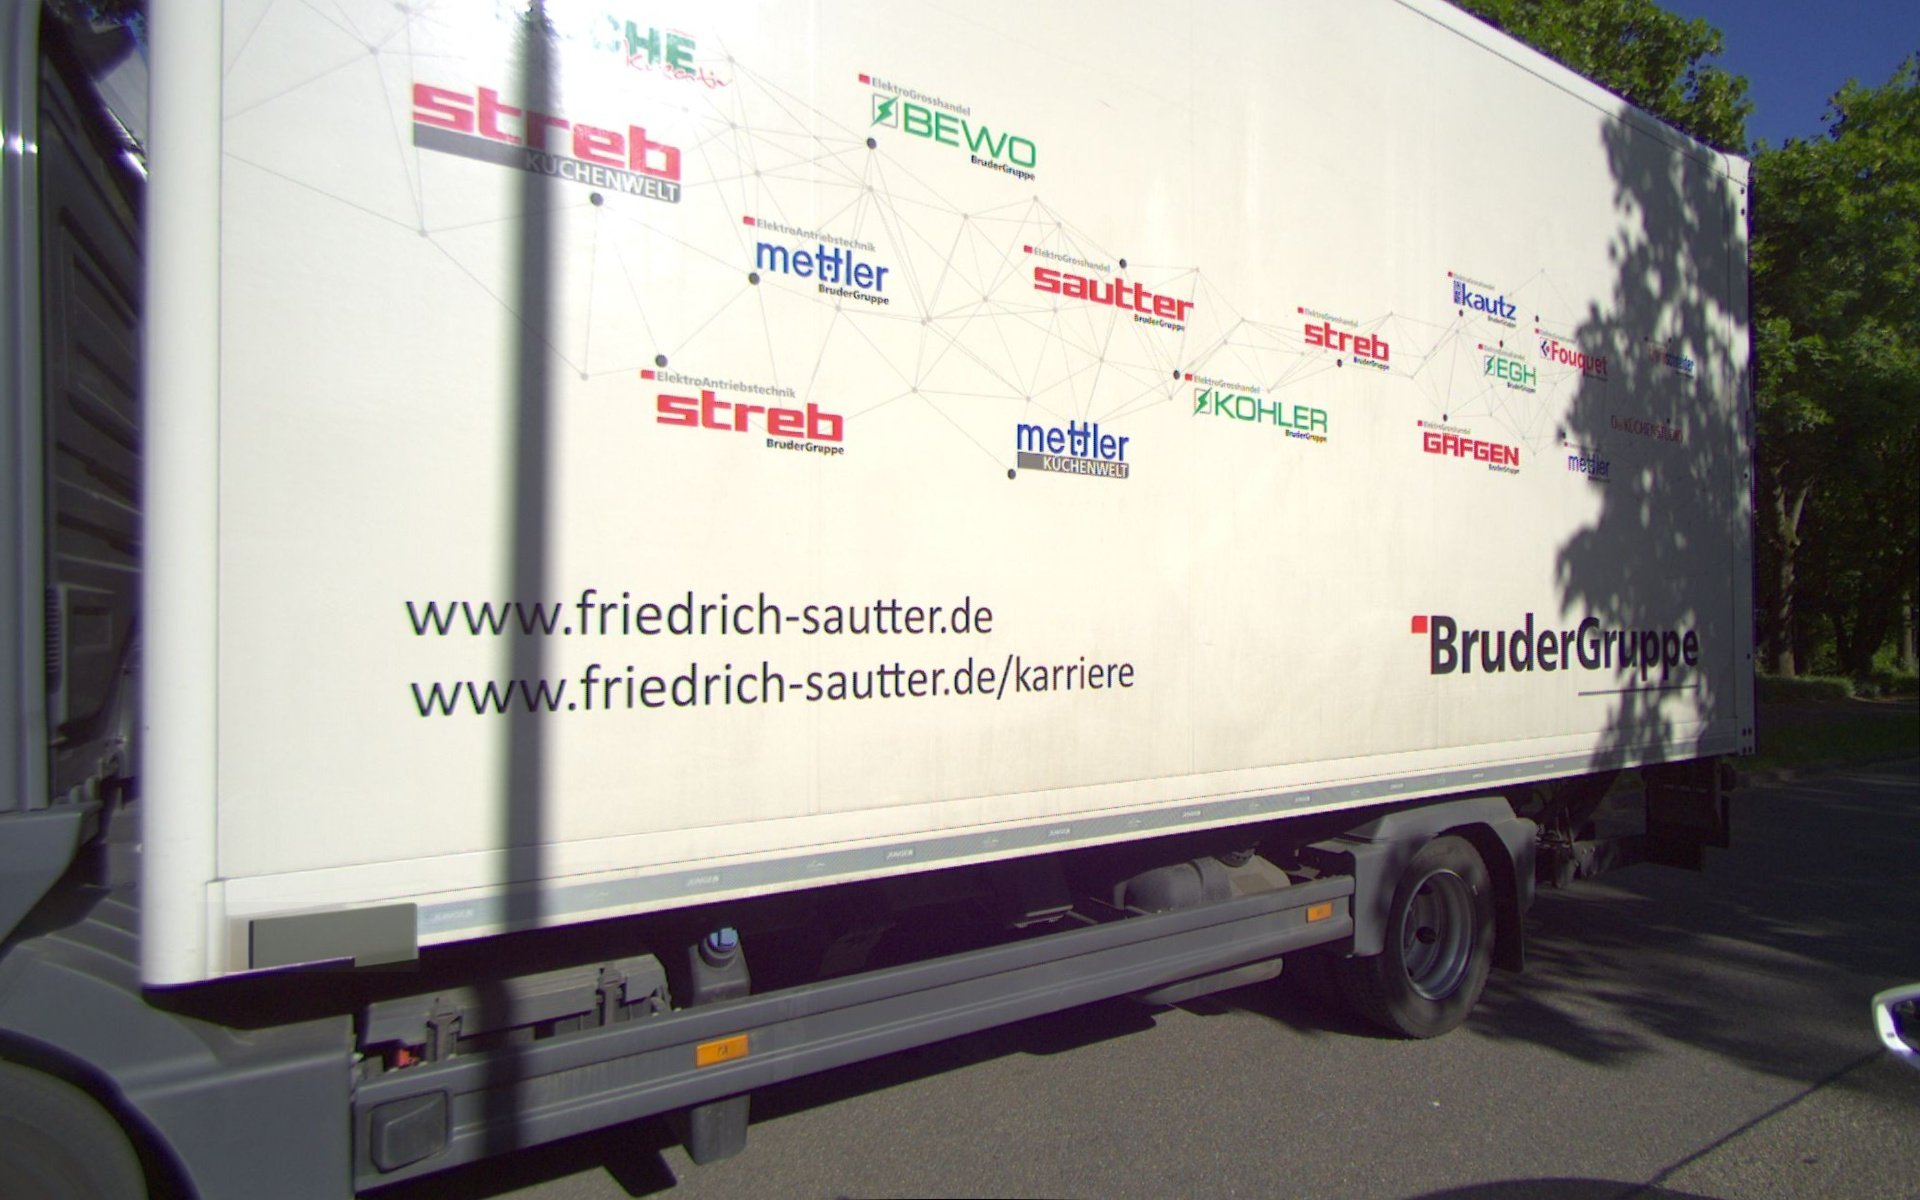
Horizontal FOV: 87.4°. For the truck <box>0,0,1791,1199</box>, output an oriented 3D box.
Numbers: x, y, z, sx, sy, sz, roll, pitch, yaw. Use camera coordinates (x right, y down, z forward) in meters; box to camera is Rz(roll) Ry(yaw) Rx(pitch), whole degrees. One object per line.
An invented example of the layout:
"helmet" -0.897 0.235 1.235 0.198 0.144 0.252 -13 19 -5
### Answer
"truck" -0.004 -0.280 3.954 8.011 3.689 2.720 2 -1 -32
